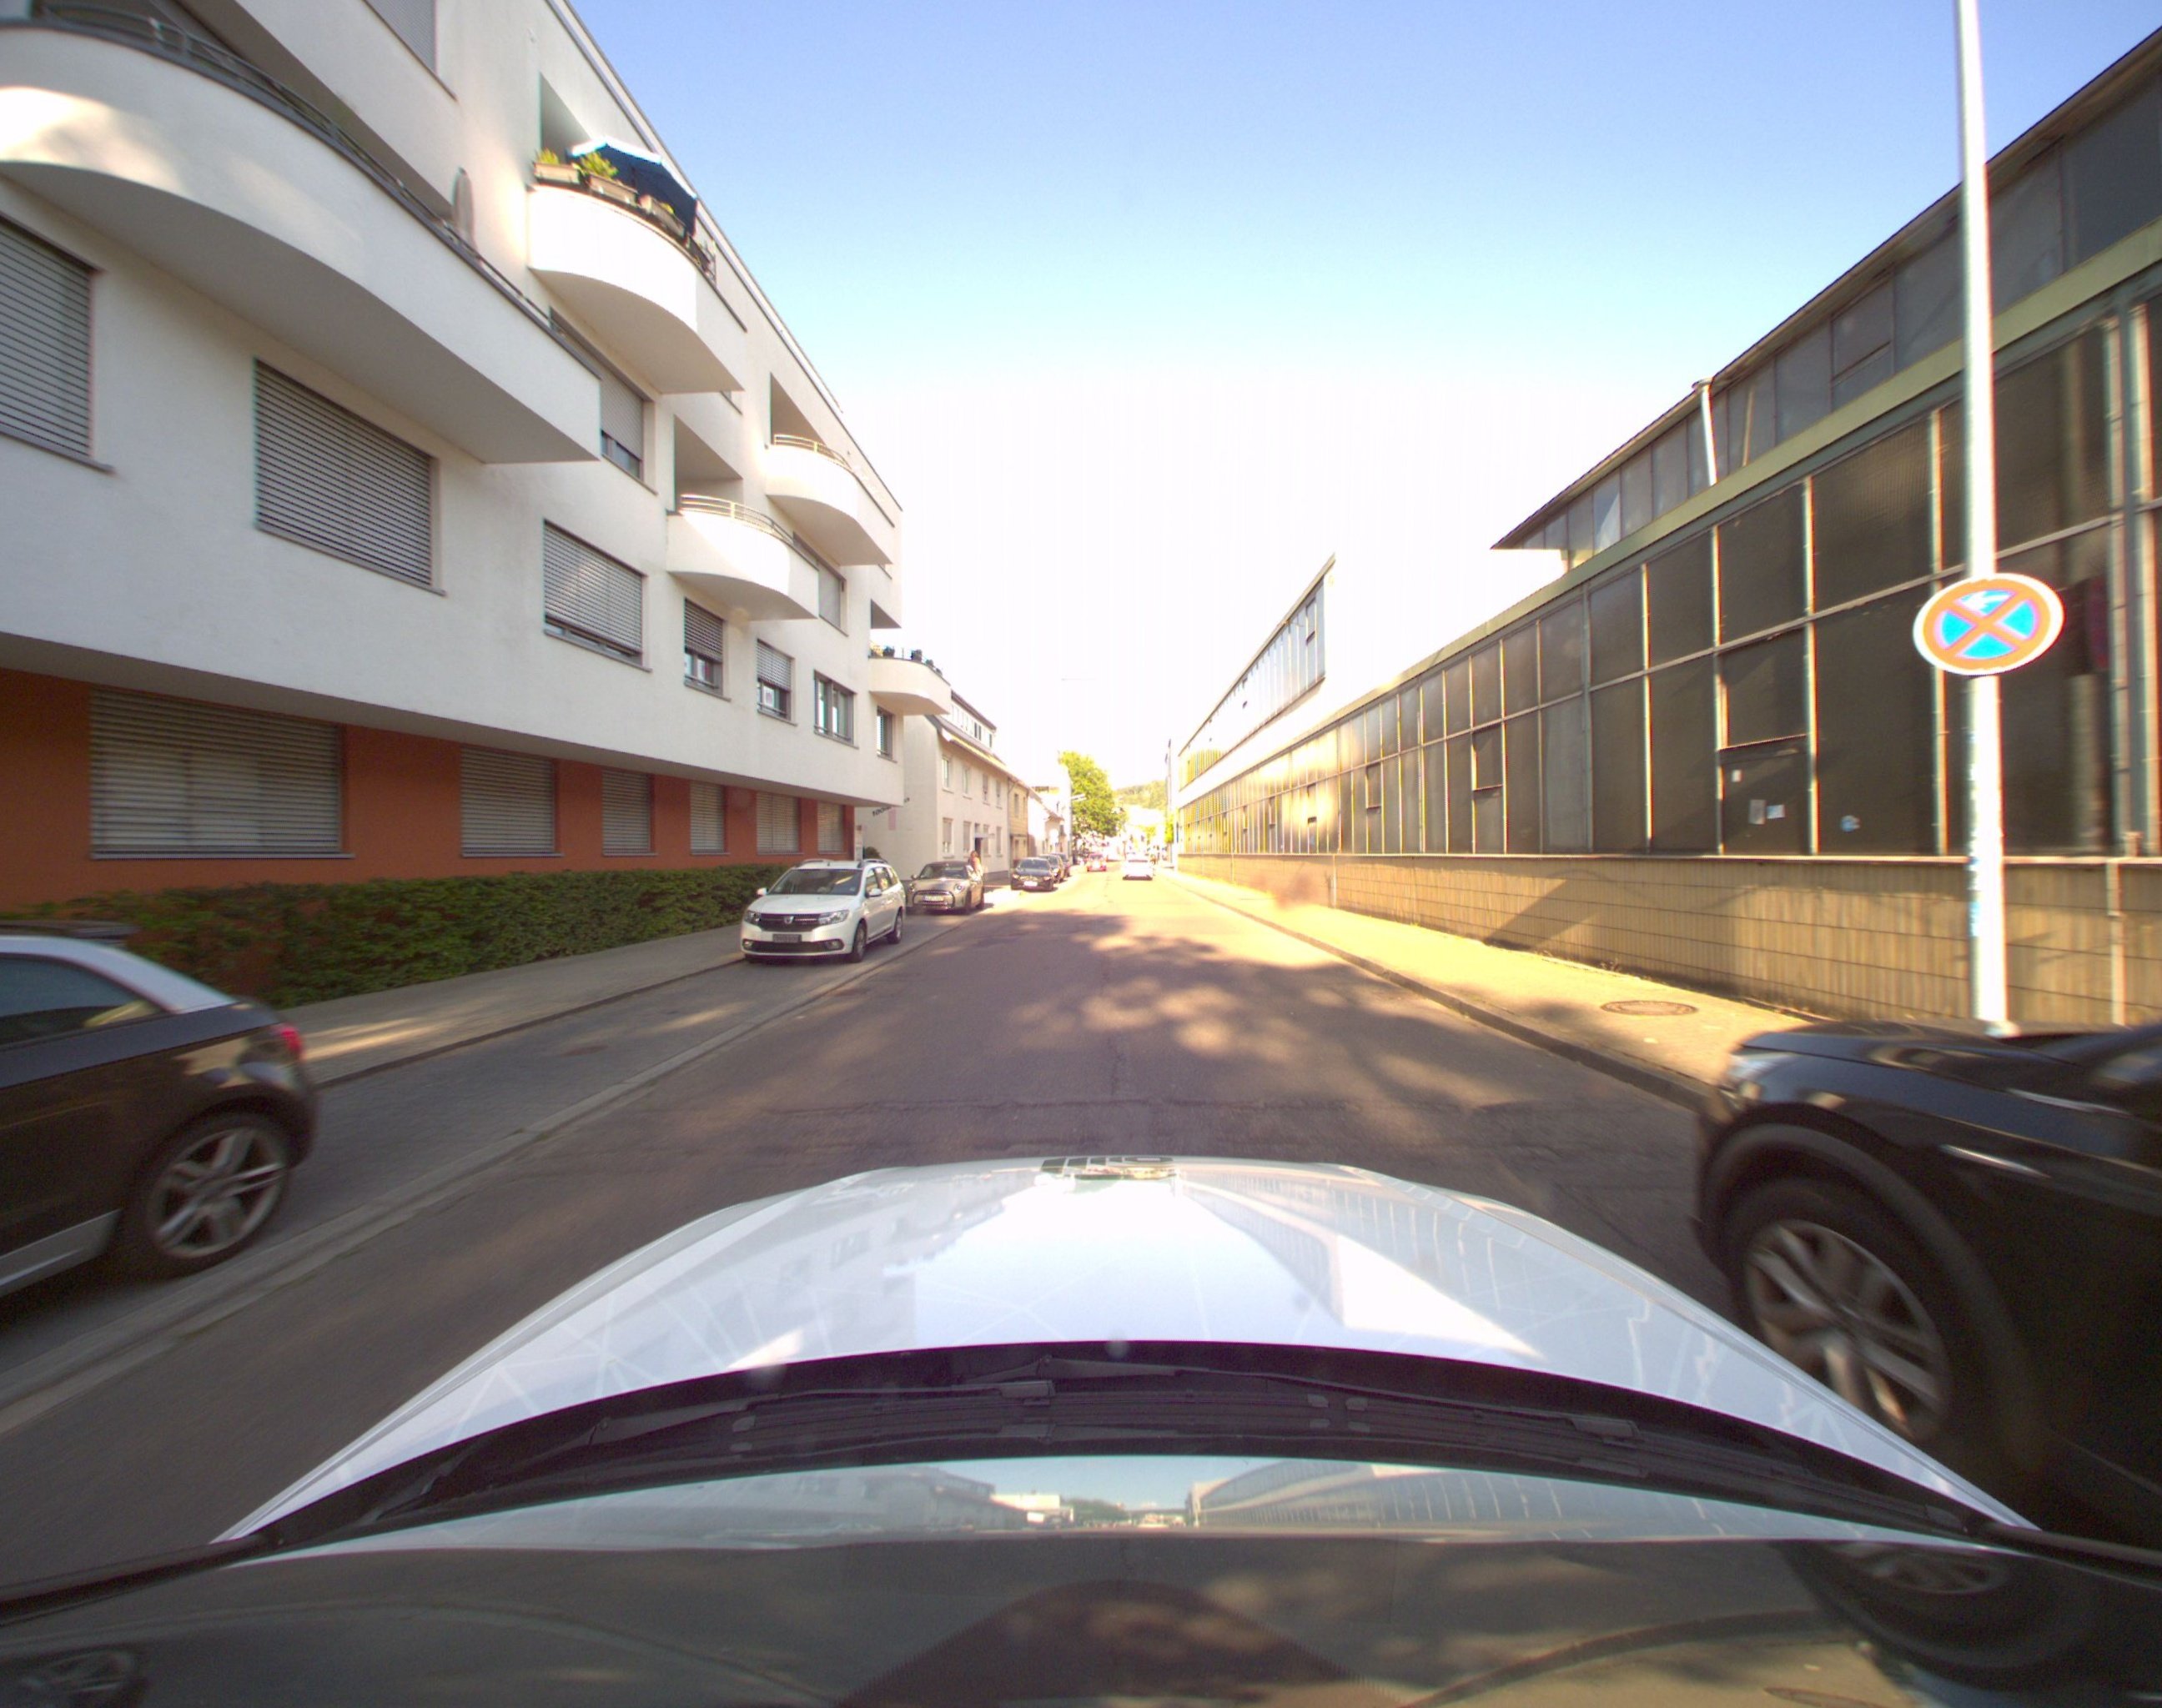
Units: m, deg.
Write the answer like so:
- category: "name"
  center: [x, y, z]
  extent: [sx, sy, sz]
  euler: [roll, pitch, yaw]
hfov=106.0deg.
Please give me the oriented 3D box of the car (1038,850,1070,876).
- category: "car"
  center: [-1.752, 0.581, 54.936]
  extent: [1.802, 1.587, 4.196]
  euler: [1, 1, 2]

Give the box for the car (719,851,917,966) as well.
- category: "car"
  center: [-4.174, 0.789, 13.819]
  extent: [1.852, 1.587, 4.619]
  euler: [1, 0, -1]

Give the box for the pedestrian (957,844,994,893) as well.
- category: "pedestrian"
  center: [-4.075, 0.543, 31.514]
  extent: [0.853, 1.818, 1.138]
  euler: [3, 1, 26]

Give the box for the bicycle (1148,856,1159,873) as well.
- category: "bicycle"
  center: [4.964, 0.733, 56.132]
  extent: [0.695, 1.130, 2.405]
  euler: [0, 0, 4]

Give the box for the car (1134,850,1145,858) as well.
- category: "car"
  center: [10.573, 0.034, 147.051]
  extent: [1.833, 1.491, 4.149]
  euler: [0, 0, 5]

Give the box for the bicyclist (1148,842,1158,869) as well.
- category: "bicyclist"
  center: [4.973, 0.108, 56.199]
  extent: [0.695, 1.790, 1.042]
  euler: [0, -1, 4]

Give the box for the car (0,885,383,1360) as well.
- category: "car"
  center: [-4.278, 0.875, 2.059]
  extent: [1.668, 1.433, 3.771]
  euler: [1, 0, 1]

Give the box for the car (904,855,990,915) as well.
- category: "car"
  center: [-3.713, 0.818, 23.185]
  extent: [1.661, 1.536, 3.858]
  euler: [1, 0, 2]

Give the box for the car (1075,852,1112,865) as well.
- category: "car"
  center: [1.474, 0.587, 96.660]
  extent: [4.106, 1.491, 1.853]
  euler: [0, -1, 9]

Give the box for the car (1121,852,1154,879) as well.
- category: "car"
  center: [3.336, 0.673, 48.621]
  extent: [1.835, 1.491, 4.145]
  euler: [0, 0, 2]

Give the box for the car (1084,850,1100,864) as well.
- category: "car"
  center: [1.517, 0.359, 110.060]
  extent: [1.845, 1.791, 4.612]
  euler: [0, 0, 4]

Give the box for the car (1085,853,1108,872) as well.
- category: "car"
  center: [1.304, 0.720, 67.213]
  extent: [1.835, 1.491, 4.146]
  euler: [0, 0, 2]

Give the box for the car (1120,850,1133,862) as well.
- category: "car"
  center: [7.016, 0.308, 125.940]
  extent: [1.847, 1.791, 4.608]
  euler: [0, 0, 1]

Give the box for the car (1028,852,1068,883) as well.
- category: "car"
  center: [-1.839, 0.719, 46.447]
  extent: [1.850, 1.587, 4.340]
  euler: [2, 1, 3]

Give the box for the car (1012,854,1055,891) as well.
- category: "car"
  center: [-2.040, 0.789, 36.174]
  extent: [1.679, 1.535, 4.332]
  euler: [1, 0, -1]

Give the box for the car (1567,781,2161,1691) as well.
- category: "car"
  center: [2.798, 0.684, 0.985]
  extent: [1.801, 1.587, 4.404]
  euler: [1, 0, 0]

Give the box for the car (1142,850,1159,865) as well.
- category: "car"
  center: [7.887, 0.419, 92.692]
  extent: [1.623, 1.587, 4.071]
  euler: [-3, 0, 2]
